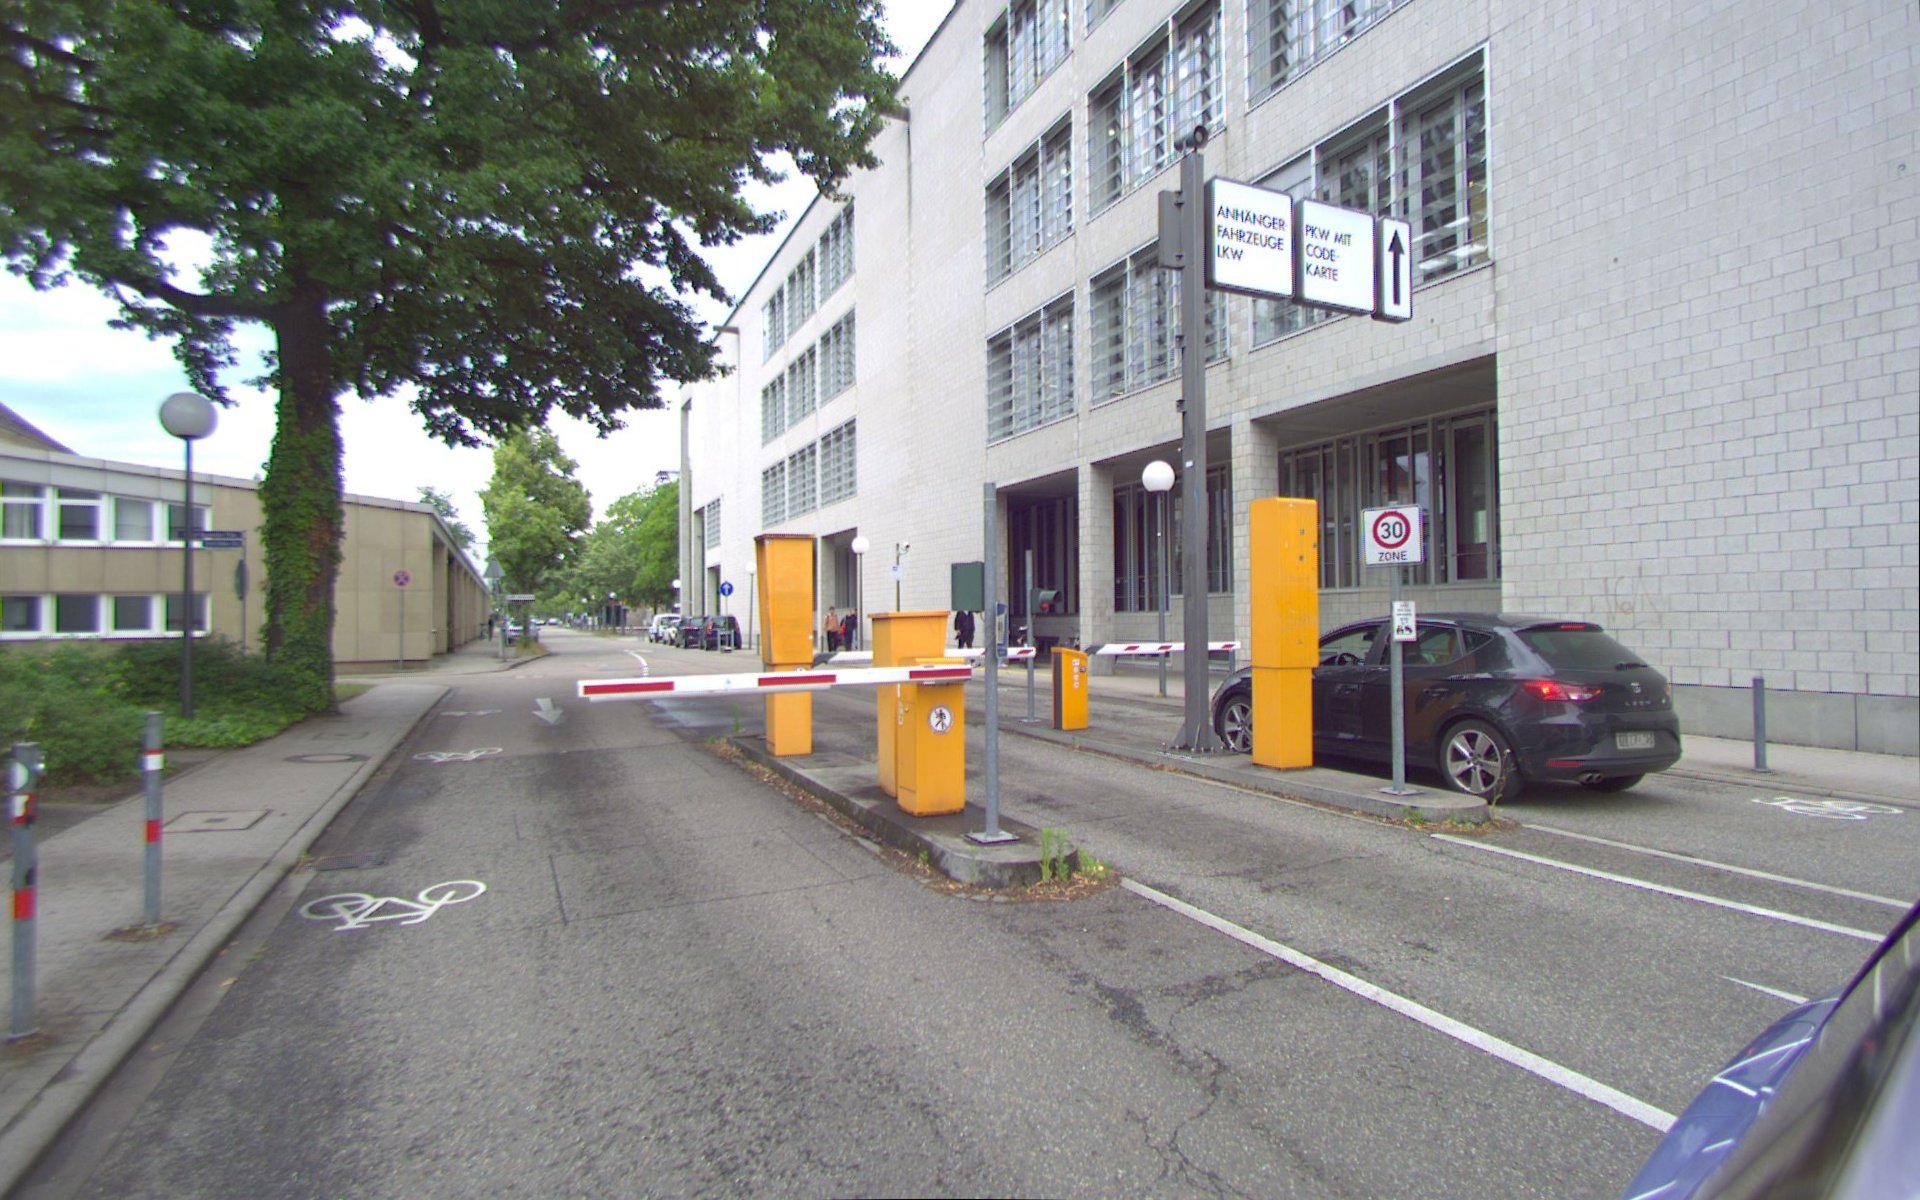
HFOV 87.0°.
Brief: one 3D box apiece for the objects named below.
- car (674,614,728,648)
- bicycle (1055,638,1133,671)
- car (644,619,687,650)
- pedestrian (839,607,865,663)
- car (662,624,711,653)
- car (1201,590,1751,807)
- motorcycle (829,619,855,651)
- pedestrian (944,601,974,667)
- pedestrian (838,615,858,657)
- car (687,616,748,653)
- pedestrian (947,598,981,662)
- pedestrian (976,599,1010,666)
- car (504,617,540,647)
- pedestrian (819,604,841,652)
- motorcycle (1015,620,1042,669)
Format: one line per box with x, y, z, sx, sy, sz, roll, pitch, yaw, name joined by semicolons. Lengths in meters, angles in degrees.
-13.518;1.585;52.696;1.959;1.643;4.435;-2;0;-24;car
3.143;1.273;23.745;1.864;0.707;0.493;1;1;-28;bicycle
-18.646;2.126;63.900;1.959;1.804;4.434;-2;0;-24;car
-3.385;1.087;31.730;0.684;1.736;0.490;0;-2;-24;pedestrian
-15.499;2.121;57.196;1.959;1.482;4.434;-2;0;-24;car
4.157;0.690;8.967;1.751;1.437;4.136;0;-1;-25;car
-4.864;1.439;41.854;0.747;1.163;2.662;1;1;0;motorcycle
-0.036;0.918;27.533;0.600;1.736;0.575;-1;-1;-24;pedestrian
-4.090;1.308;36.981;0.632;1.547;0.473;0;-2;-22;pedestrian
-11.672;1.645;48.548;1.959;1.643;4.434;-1;-1;-25;car
0.107;0.804;27.506;0.715;1.720;0.589;1;0;-29;pedestrian
0.852;0.840;26.430;0.677;1.720;0.589;1;0;-24;pedestrian
-24.294;1.746;56.099;1.739;1.621;4.006;0;-1;-25;car
-4.707;1.004;36.577;0.684;1.736;0.490;0;-2;-20;pedestrian
1.786;1.146;26.686;0.557;1.163;2.217;1;1;0;motorcycle
